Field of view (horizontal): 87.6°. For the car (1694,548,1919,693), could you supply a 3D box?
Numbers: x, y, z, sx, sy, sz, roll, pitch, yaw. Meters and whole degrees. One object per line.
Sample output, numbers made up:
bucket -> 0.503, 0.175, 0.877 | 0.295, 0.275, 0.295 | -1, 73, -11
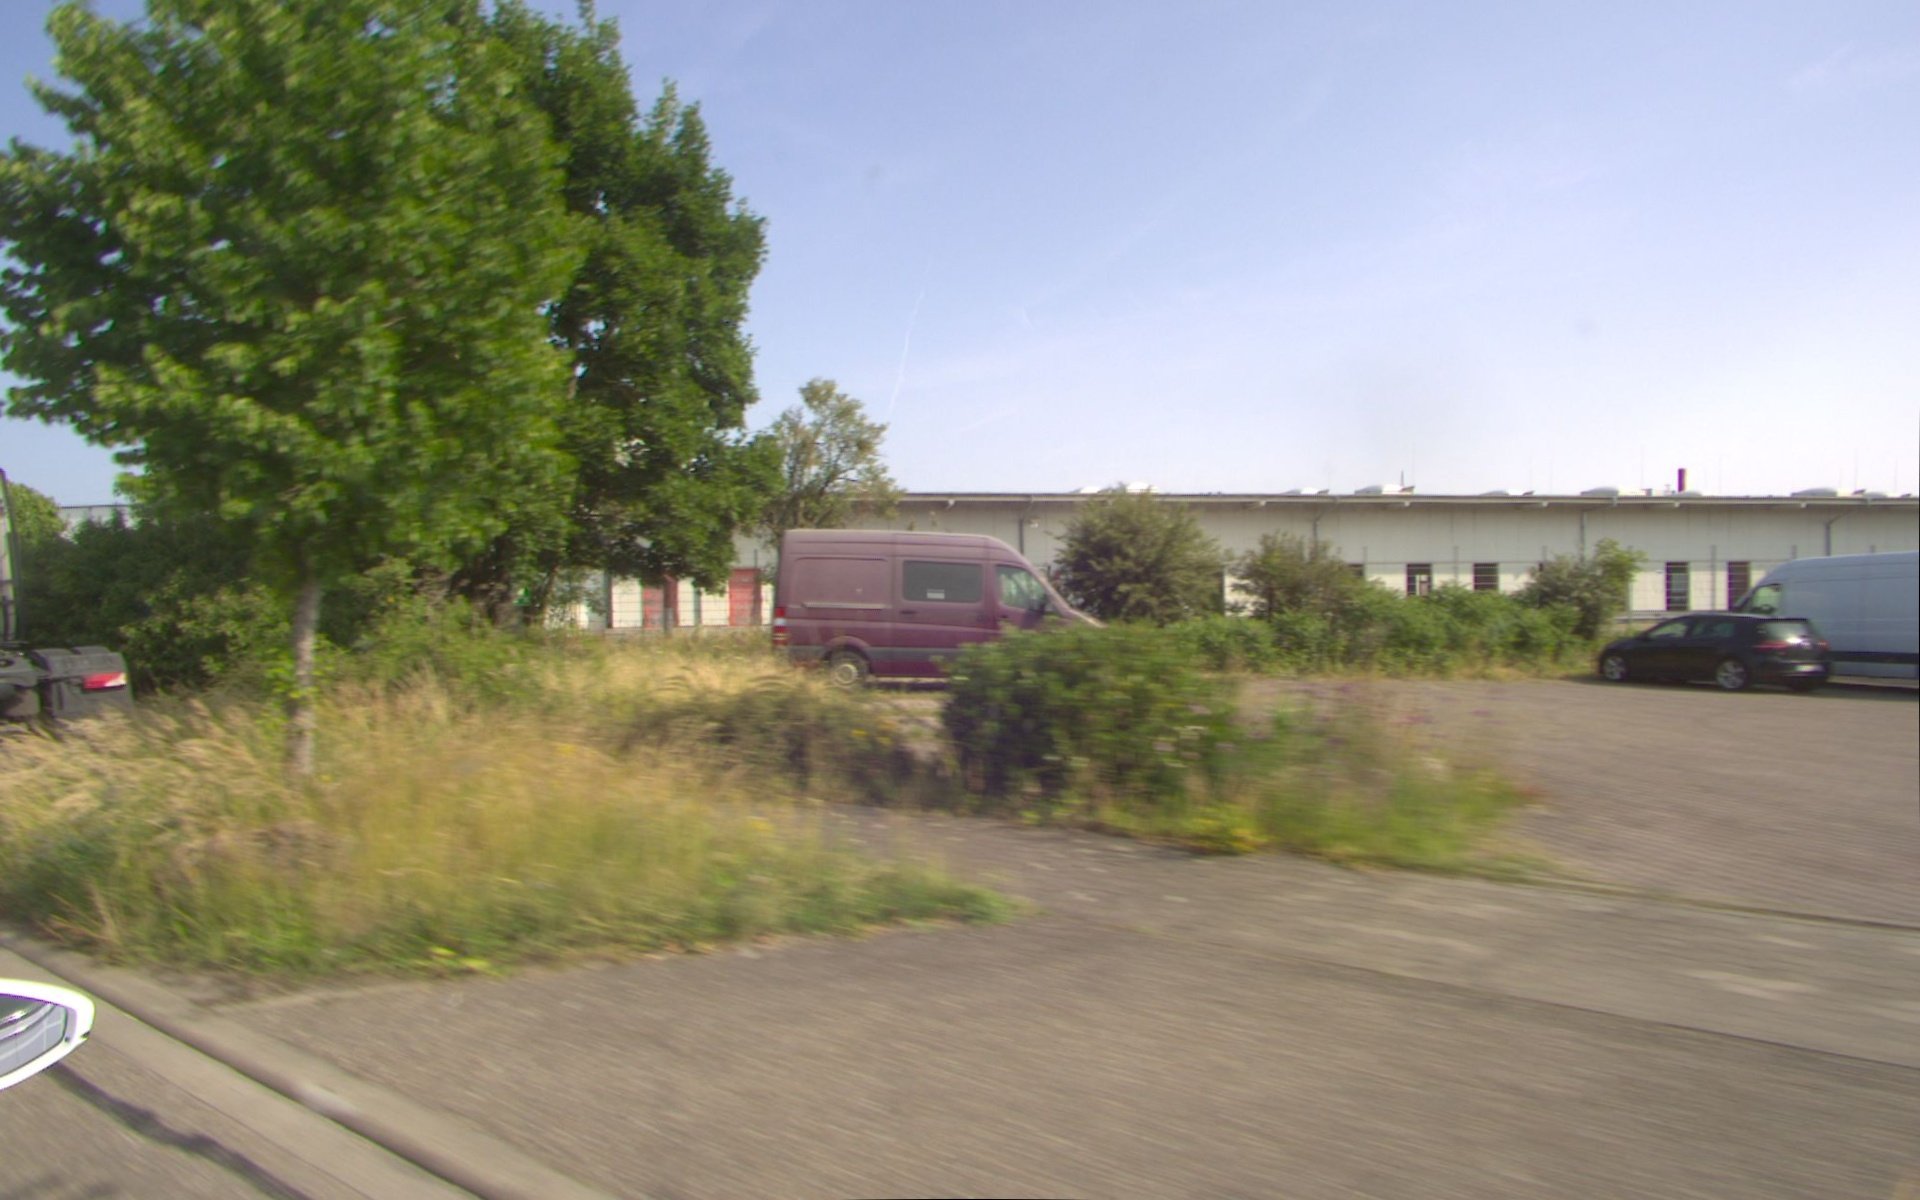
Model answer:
car -> 17.761, 0.386, 19.127 | 1.969, 2.558, 6.559 | -1, -1, -9

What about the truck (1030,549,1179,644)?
truck -> 4.716, 0.018, 34.838 | 2.737, 2.876, 8.760 | -1, -2, -8

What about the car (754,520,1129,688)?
car -> -0.389, 0.166, 17.055 | 5.933, 2.557, 2.575 | 1, -2, -9

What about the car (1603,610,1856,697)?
car -> 14.730, 0.964, 19.451 | 1.726, 1.490, 3.728 | 1, 0, -9

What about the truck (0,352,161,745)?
truck -> -12.408, -0.490, 11.712 | 5.958, 4.019, 2.686 | -1, 2, 31
